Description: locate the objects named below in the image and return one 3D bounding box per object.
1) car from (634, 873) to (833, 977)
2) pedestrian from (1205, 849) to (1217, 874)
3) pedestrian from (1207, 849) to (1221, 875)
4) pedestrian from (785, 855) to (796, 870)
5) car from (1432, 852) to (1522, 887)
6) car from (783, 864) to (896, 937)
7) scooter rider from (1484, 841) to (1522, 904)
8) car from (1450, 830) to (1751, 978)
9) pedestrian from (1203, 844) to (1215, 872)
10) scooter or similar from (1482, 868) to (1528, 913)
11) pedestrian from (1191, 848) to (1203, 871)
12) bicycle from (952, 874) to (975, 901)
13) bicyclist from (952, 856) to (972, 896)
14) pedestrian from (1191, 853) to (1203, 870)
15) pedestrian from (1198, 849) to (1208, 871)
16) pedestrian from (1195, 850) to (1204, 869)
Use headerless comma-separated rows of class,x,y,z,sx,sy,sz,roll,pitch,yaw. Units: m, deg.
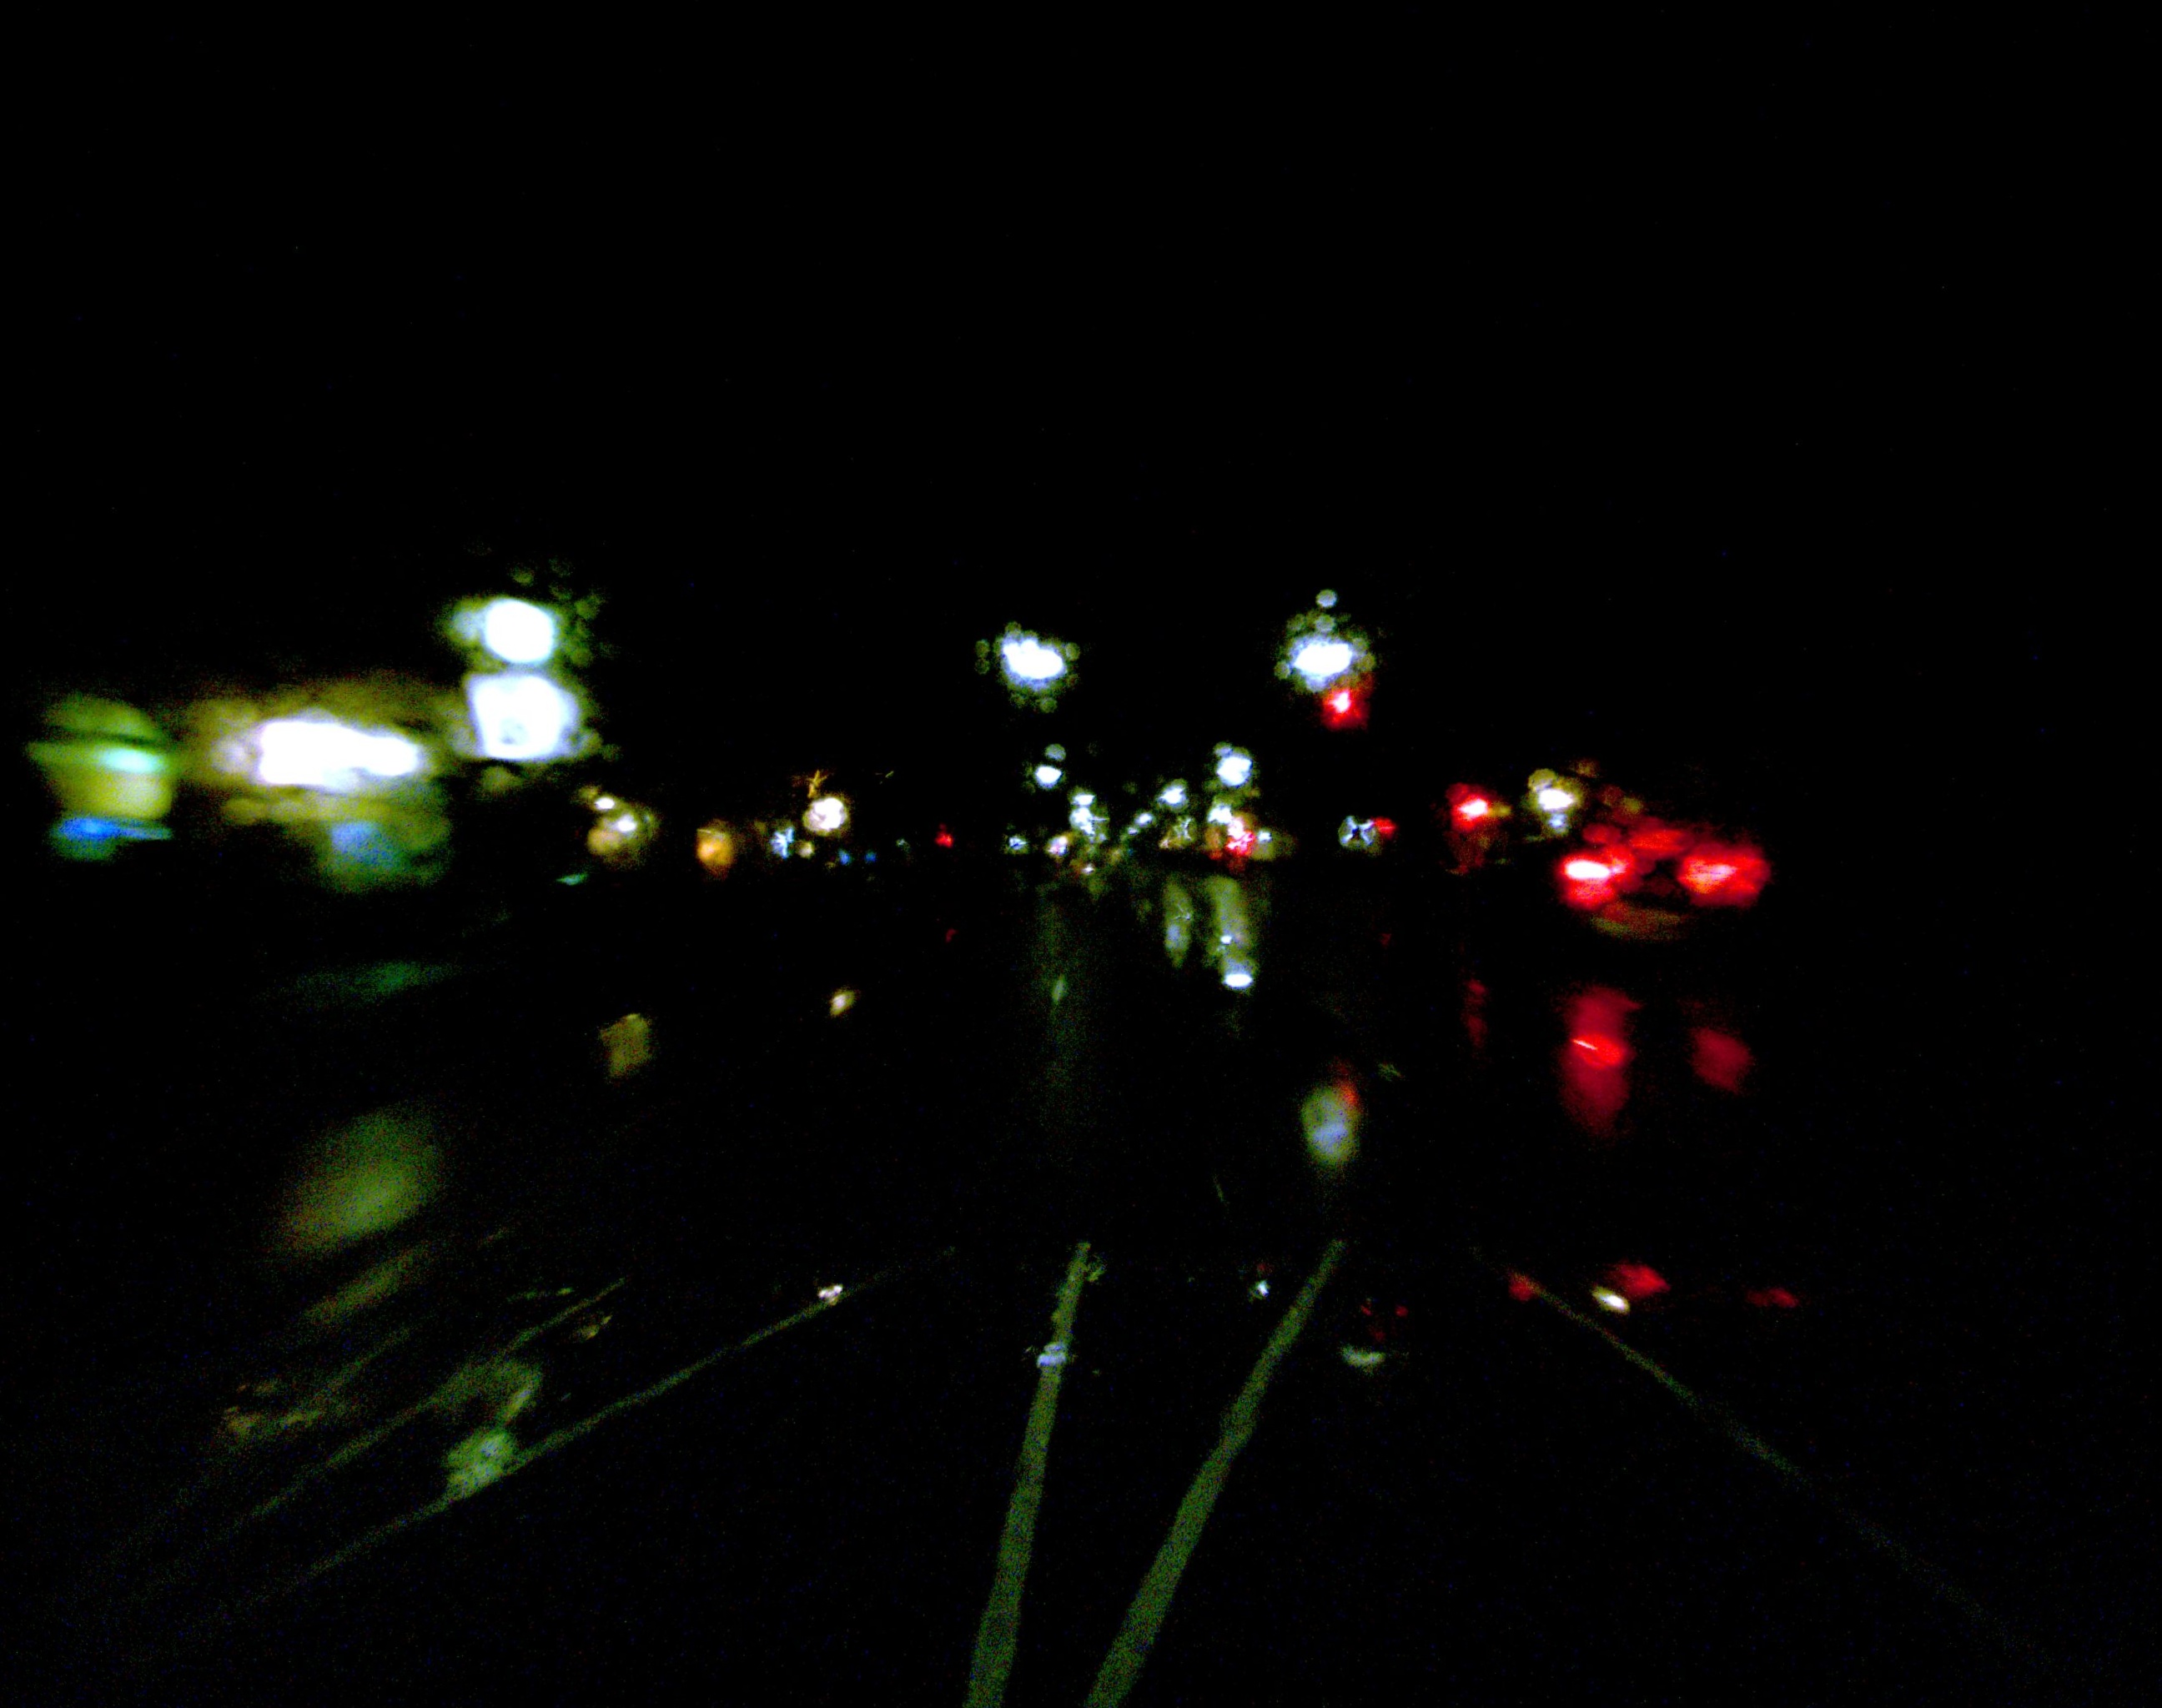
car,-6.073,1.152,13.858,1.649,1.433,4.055,3,0,1
pedestrian,9.188,0.518,53.809,0.716,1.764,0.671,-3,2,5
pedestrian,9.063,0.536,51.642,0.671,1.764,0.716,-4,2,-8
pedestrian,-32.837,0.929,85.988,0.841,1.628,0.635,-3,2,27
car,19.049,0.722,36.547,3.601,1.507,1.922,-2,1,-21
car,-5.911,1.078,19.032,1.651,1.516,3.580,3,0,0
scooter rider,11.021,0.474,19.861,0.641,1.564,0.653,-3,2,13
car,7.662,0.604,11.887,1.899,1.858,4.537,0,1,5
pedestrian,9.320,0.284,55.502,0.609,1.975,0.858,-4,2,-1
scooter or similar,11.043,0.926,19.842,0.641,1.046,1.370,-3,1,13
pedestrian,8.763,0.426,57.510,0.586,1.642,0.558,-5,2,-41
bicycle,-4.729,1.316,30.438,0.572,0.964,1.778,-4,1,-18
bicyclist,-4.771,0.862,30.496,0.572,1.539,0.815,-4,1,-18
pedestrian,8.933,0.596,58.328,0.586,1.246,0.623,-5,2,-41
pedestrian,9.123,0.422,56.975,0.401,1.620,0.531,-5,2,-41
pedestrian,9.262,0.427,59.386,0.480,1.519,0.585,-4,2,-16
